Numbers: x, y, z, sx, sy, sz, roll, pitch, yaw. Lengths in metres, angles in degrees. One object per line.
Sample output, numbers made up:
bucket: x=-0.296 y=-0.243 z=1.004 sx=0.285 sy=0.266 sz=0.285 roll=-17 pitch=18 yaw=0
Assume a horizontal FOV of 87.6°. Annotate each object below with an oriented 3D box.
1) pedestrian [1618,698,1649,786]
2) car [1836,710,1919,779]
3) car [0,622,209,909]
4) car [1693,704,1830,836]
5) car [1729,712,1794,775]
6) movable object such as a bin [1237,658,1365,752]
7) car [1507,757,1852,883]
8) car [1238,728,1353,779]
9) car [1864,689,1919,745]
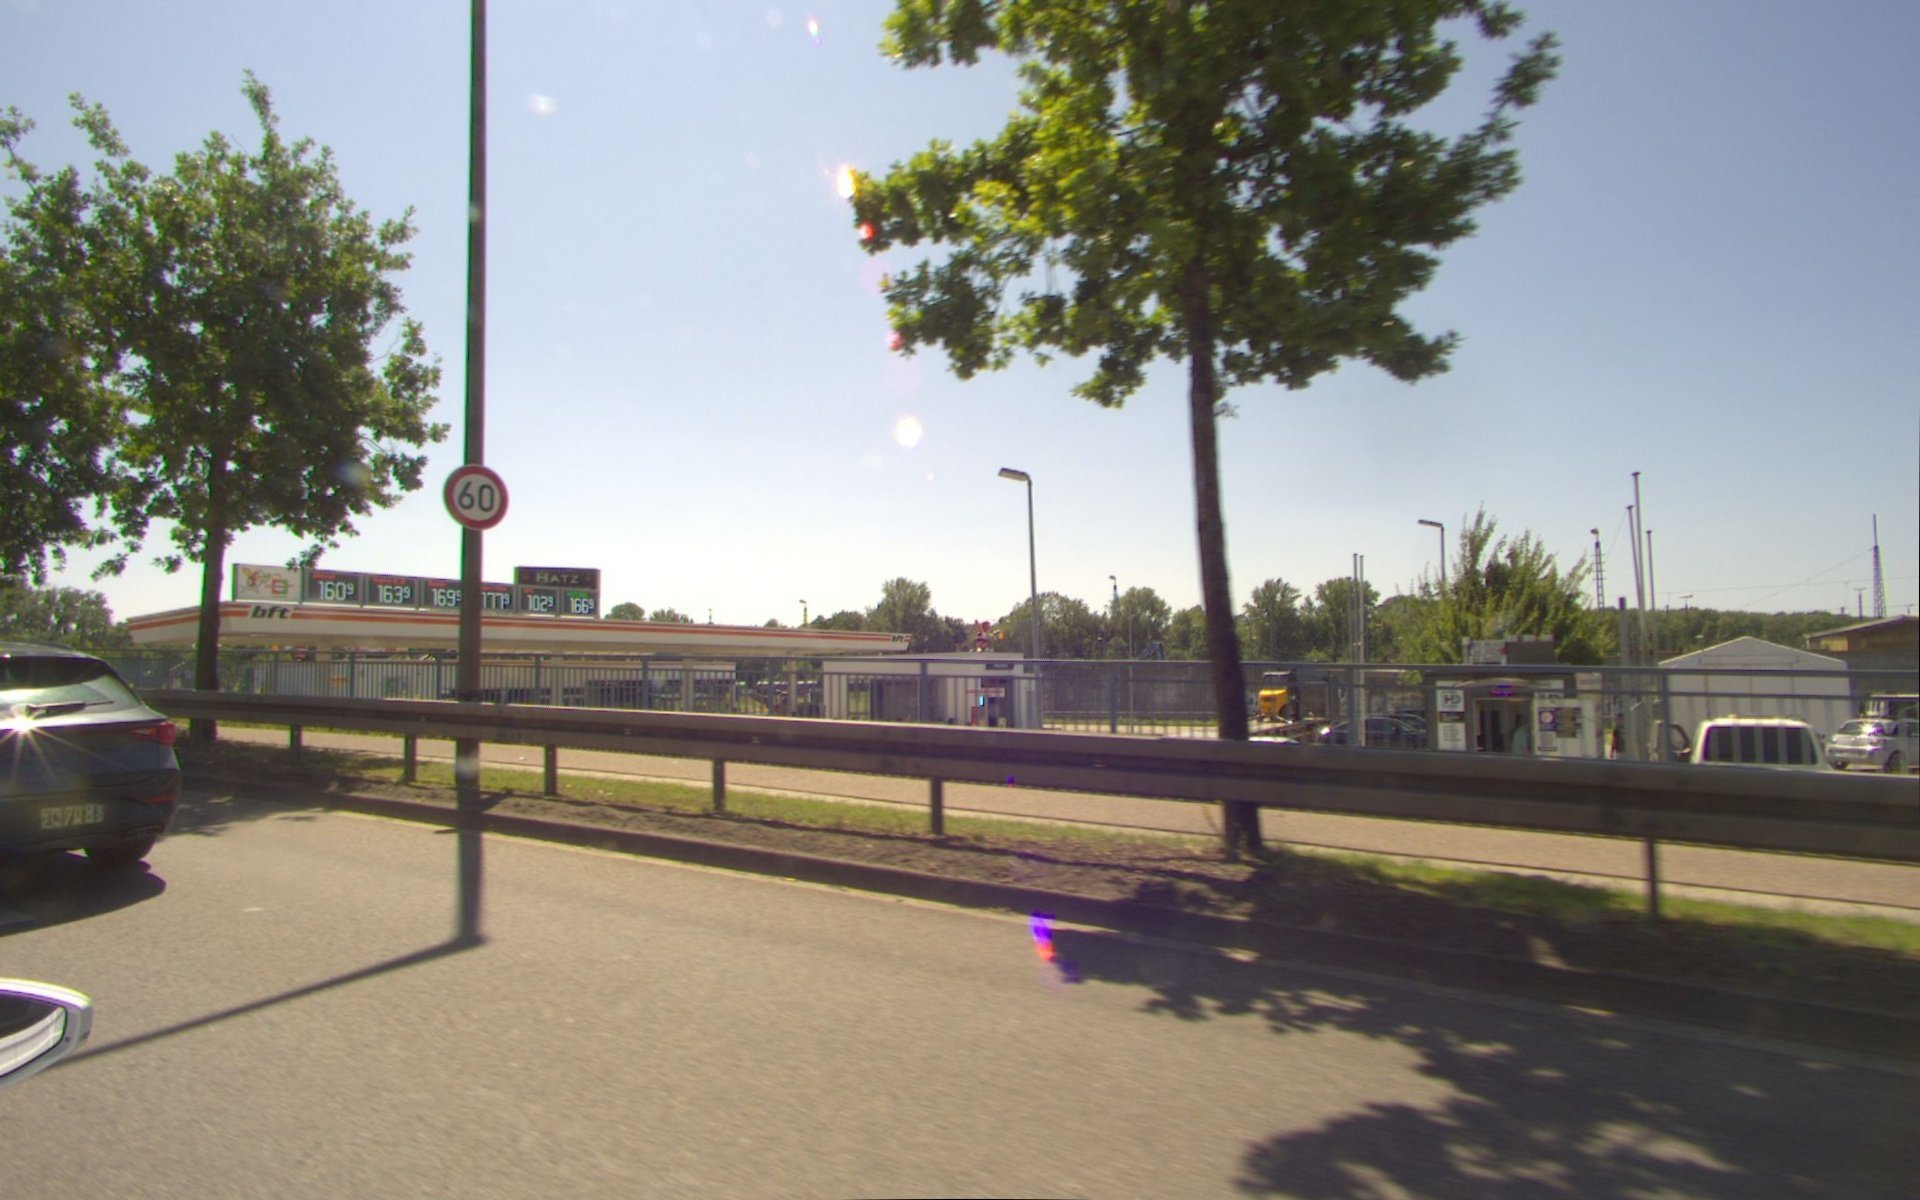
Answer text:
pedestrian: x=13.691 y=2.870 z=20.364 sx=0.435 sy=1.738 sz=0.565 roll=-2 pitch=-3 yaw=32
car: x=26.306 y=4.050 z=28.572 sx=3.963 sy=1.571 sz=1.673 roll=2 pitch=-4 yaw=-45
car: x=-6.723 y=0.952 z=6.276 sx=4.170 sy=1.473 sz=1.604 roll=-3 pitch=-3 yaw=28
car: x=13.650 y=2.747 z=17.075 sx=1.578 sy=1.680 sz=4.577 roll=-3 pitch=-4 yaw=39
car: x=20.783 y=3.682 z=25.979 sx=1.209 sy=1.367 sz=2.694 roll=-3 pitch=-4 yaw=39
movable object such as a bin: x=16.233 y=4.704 z=46.946 sx=2.996 sy=3.753 sz=11.022 roll=-3 pitch=-3 yaw=33
car: x=9.042 y=2.765 z=12.777 sx=3.253 sy=1.325 sz=1.466 roll=-1 pitch=-3 yaw=3
car: x=8.471 y=3.860 z=25.325 sx=2.525 sy=1.092 sz=1.104 roll=-3 pitch=-3 yaw=34
car: x=30.854 y=3.769 z=32.745 sx=1.772 sy=1.571 sz=3.969 roll=-3 pitch=-4 yaw=41
